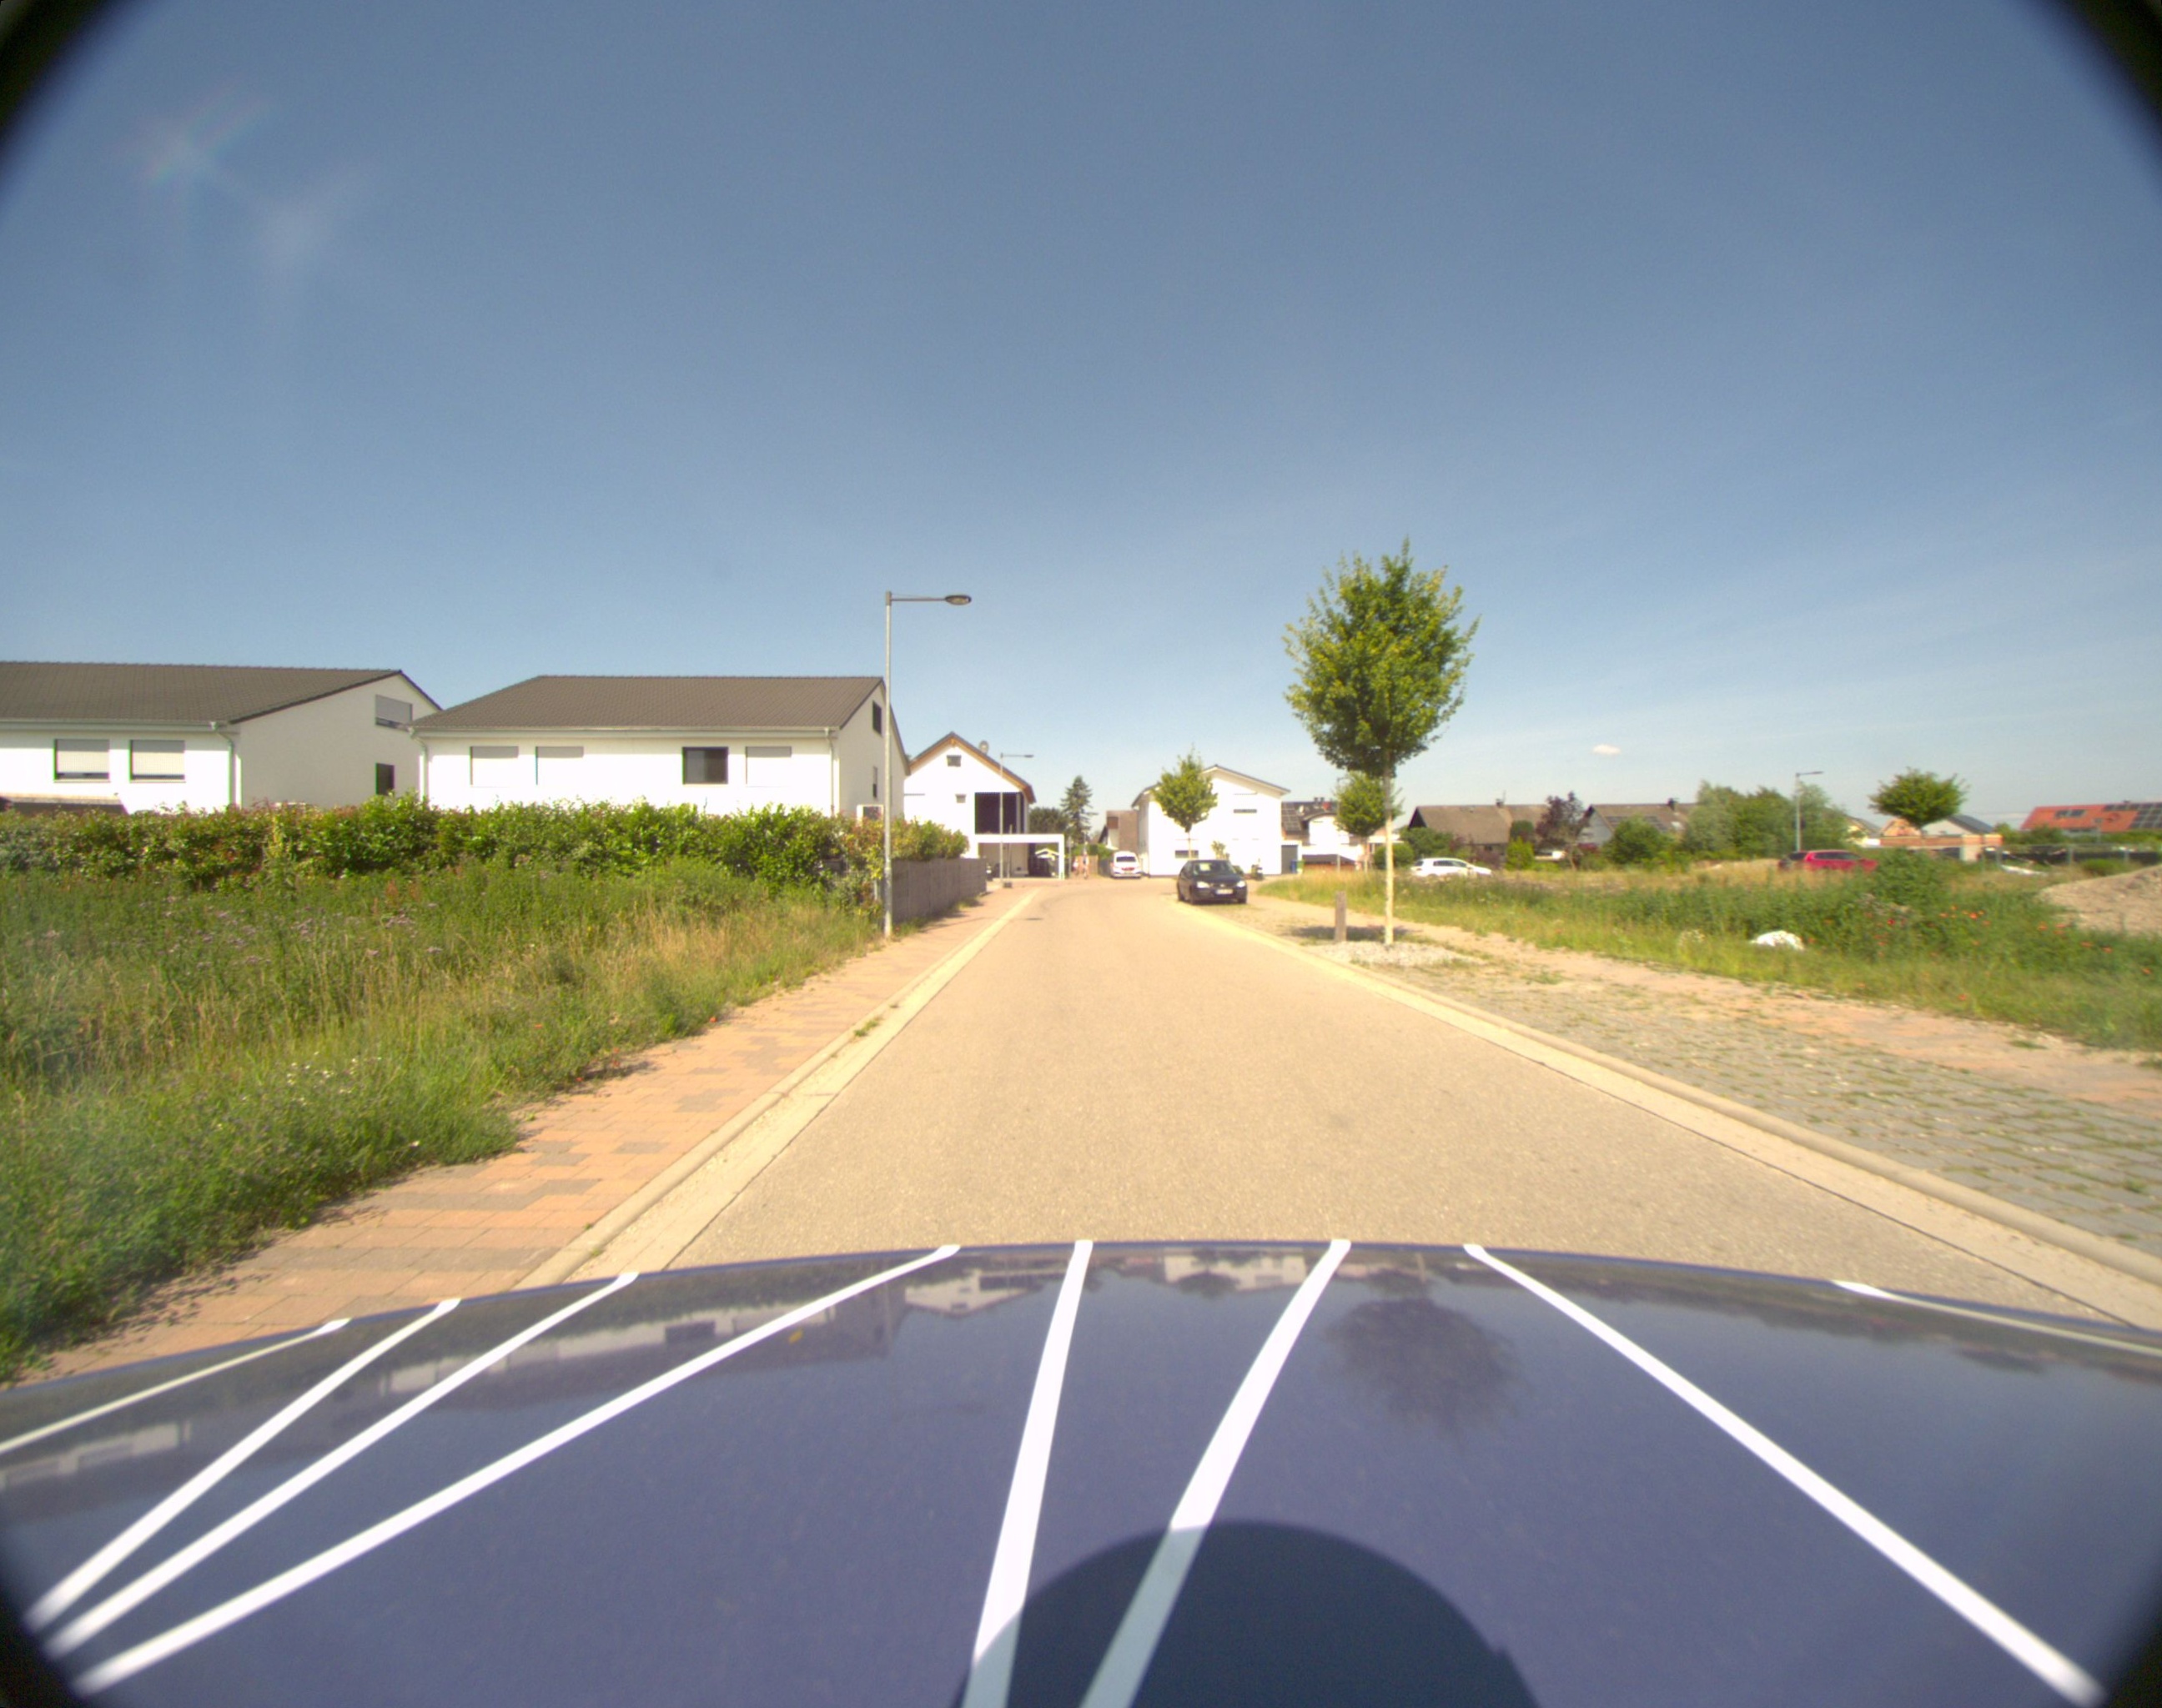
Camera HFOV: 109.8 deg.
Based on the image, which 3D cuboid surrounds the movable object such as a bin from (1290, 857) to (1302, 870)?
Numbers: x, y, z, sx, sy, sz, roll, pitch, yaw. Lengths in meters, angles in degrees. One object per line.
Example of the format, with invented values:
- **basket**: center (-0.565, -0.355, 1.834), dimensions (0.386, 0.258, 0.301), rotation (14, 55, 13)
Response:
- **movable object such as a bin**: center (15.968, 0.702, 56.336), dimensions (0.685, 0.999, 0.741), rotation (0, 0, 2)

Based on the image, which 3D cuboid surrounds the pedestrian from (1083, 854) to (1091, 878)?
- **pedestrian**: center (0.415, 0.831, 52.786), dimensions (0.550, 1.710, 0.819), rotation (0, 0, 3)

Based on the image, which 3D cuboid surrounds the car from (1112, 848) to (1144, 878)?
- **car**: center (3.144, 0.580, 51.729), dimensions (1.856, 1.874, 4.558), rotation (-2, 0, 0)

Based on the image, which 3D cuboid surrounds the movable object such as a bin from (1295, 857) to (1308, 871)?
- **movable object such as a bin**: center (16.110, 0.706, 55.515), dimensions (0.685, 0.999, 0.741), rotation (0, 0, 2)

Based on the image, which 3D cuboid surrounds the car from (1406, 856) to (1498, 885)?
- **car**: center (19.594, 0.845, 40.211), dimensions (3.995, 1.494, 1.810), rotation (0, 0, 5)

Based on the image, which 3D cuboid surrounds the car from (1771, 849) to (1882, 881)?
- **car**: center (38.779, 0.573, 39.588), dimensions (3.997, 1.606, 1.809), rotation (0, 0, 1)

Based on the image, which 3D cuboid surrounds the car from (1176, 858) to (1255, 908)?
- **car**: center (4.376, 0.890, 25.319), dimensions (1.816, 1.445, 4.144), rotation (-2, 0, 0)
